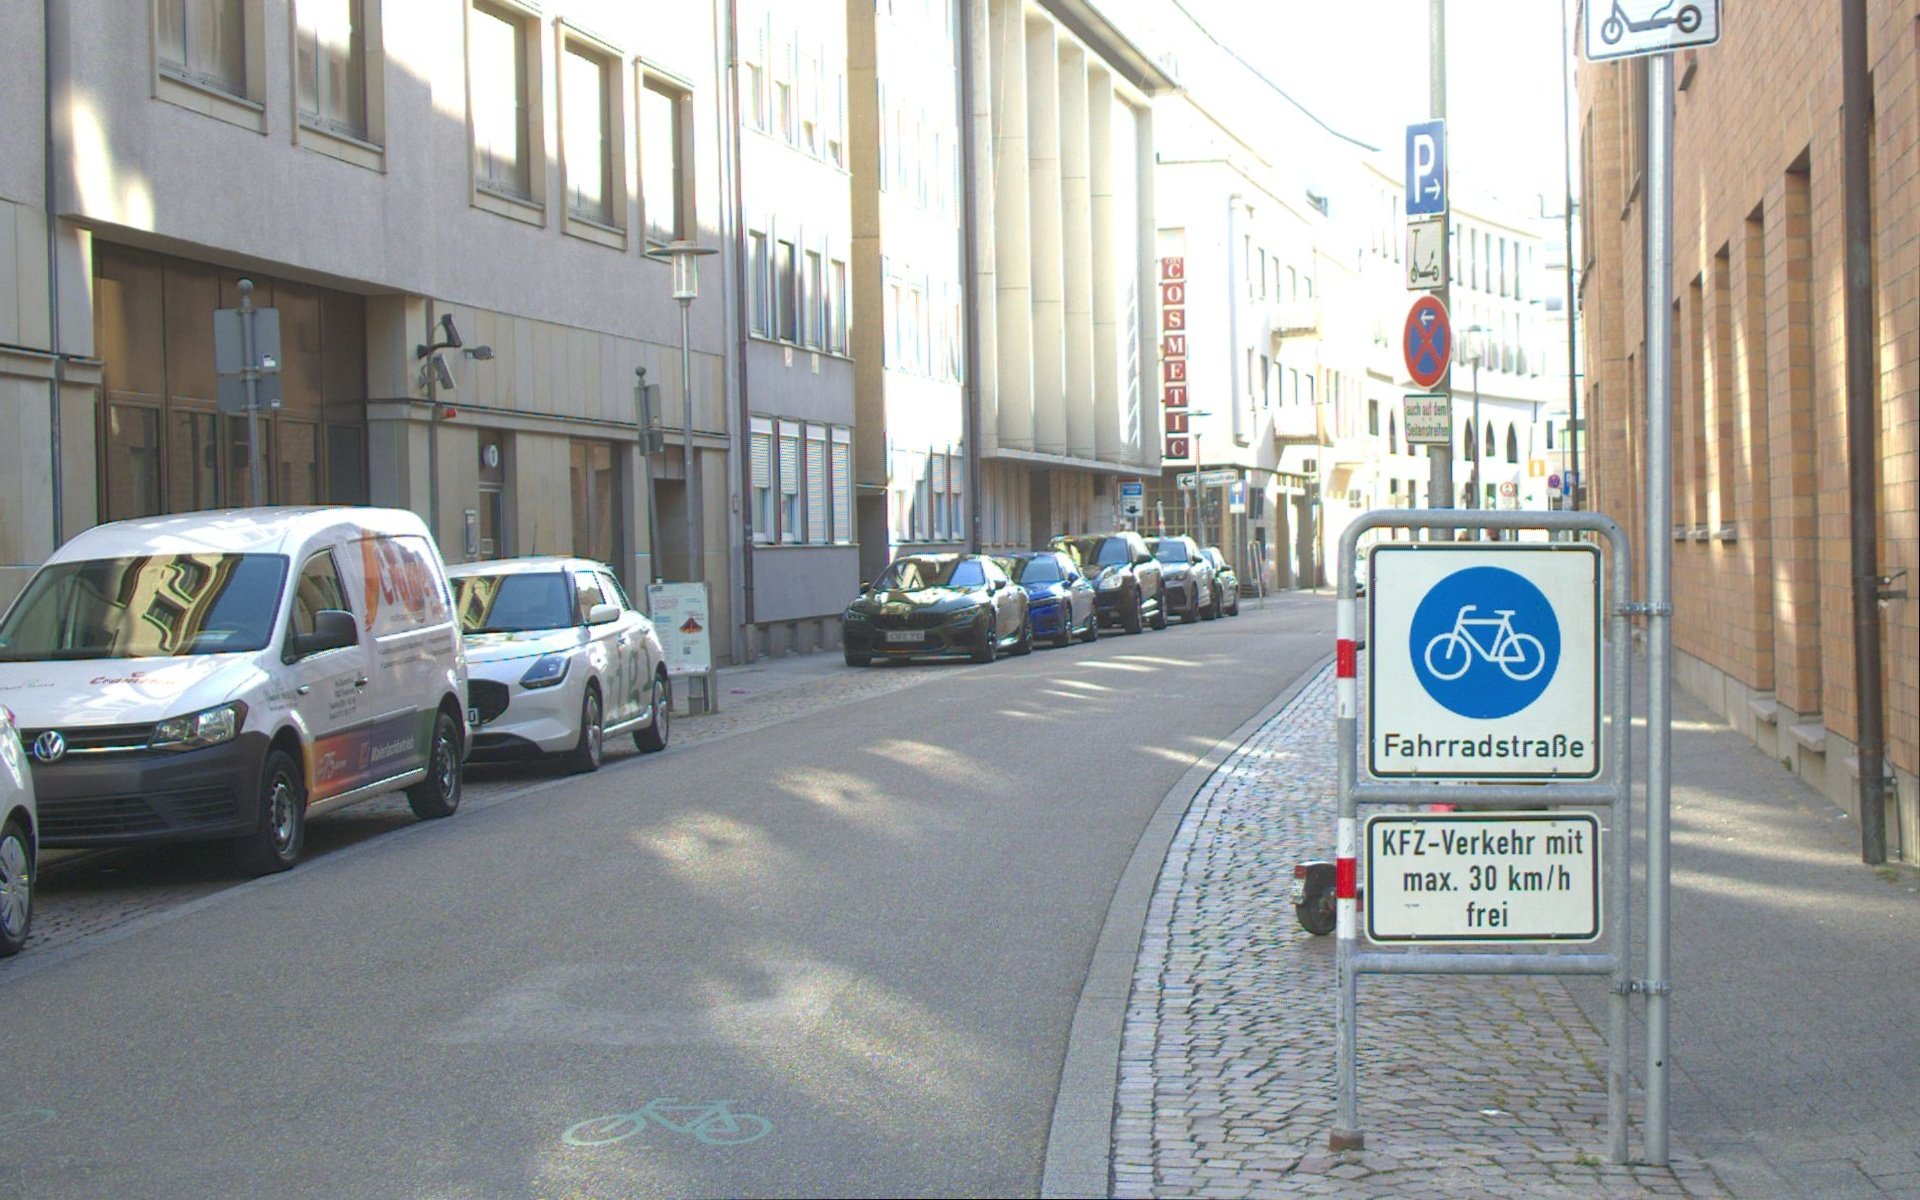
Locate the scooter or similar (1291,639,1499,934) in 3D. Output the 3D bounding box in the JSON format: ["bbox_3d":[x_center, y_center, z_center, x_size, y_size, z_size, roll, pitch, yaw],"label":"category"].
[{"bbox_3d":[1.715,0.730,13.589,0.771,1.132,0.269,1,0,3],"label":"scooter or similar"}]

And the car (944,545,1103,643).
[{"bbox_3d":[0.987,-0.119,51.187,1.725,1.336,3.999,-1,1,10],"label":"car"}]

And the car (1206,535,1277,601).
[{"bbox_3d":[6.685,-0.778,81.518,1.339,1.489,3.345,-1,1,10],"label":"car"}]

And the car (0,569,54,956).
[{"bbox_3d":[-4.619,0.696,12.269,1.670,1.501,3.794,-3,1,1],"label":"car"}]

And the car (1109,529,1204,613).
[{"bbox_3d":[3.702,-0.566,64.290,1.339,1.489,3.509,-1,1,10],"label":"car"}]

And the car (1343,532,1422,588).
[{"bbox_3d":[11.021,-1.049,89.575,1.690,1.365,3.616,-1,1,12],"label":"car"}]

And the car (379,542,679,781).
[{"bbox_3d":[-2.976,0.381,24.304,1.271,1.501,3.401,-2,1,7],"label":"car"}]

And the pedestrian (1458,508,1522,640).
[{"bbox_3d":[7.017,-0.344,45.551,0.664,1.724,0.840,1,0,-1],"label":"pedestrian"}]

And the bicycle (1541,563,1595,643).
[{"bbox_3d":[8.011,0.024,45.365,0.511,0.990,2.647,-1,1,6],"label":"bicycle"}]

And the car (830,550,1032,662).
[{"bbox_3d":[-0.323,0.045,44.662,1.882,1.327,4.099,-1,1,10],"label":"car"}]

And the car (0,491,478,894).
[{"bbox_3d":[-3.939,0.390,18.125,1.670,1.812,4.551,-2,1,6],"label":"car"}]
